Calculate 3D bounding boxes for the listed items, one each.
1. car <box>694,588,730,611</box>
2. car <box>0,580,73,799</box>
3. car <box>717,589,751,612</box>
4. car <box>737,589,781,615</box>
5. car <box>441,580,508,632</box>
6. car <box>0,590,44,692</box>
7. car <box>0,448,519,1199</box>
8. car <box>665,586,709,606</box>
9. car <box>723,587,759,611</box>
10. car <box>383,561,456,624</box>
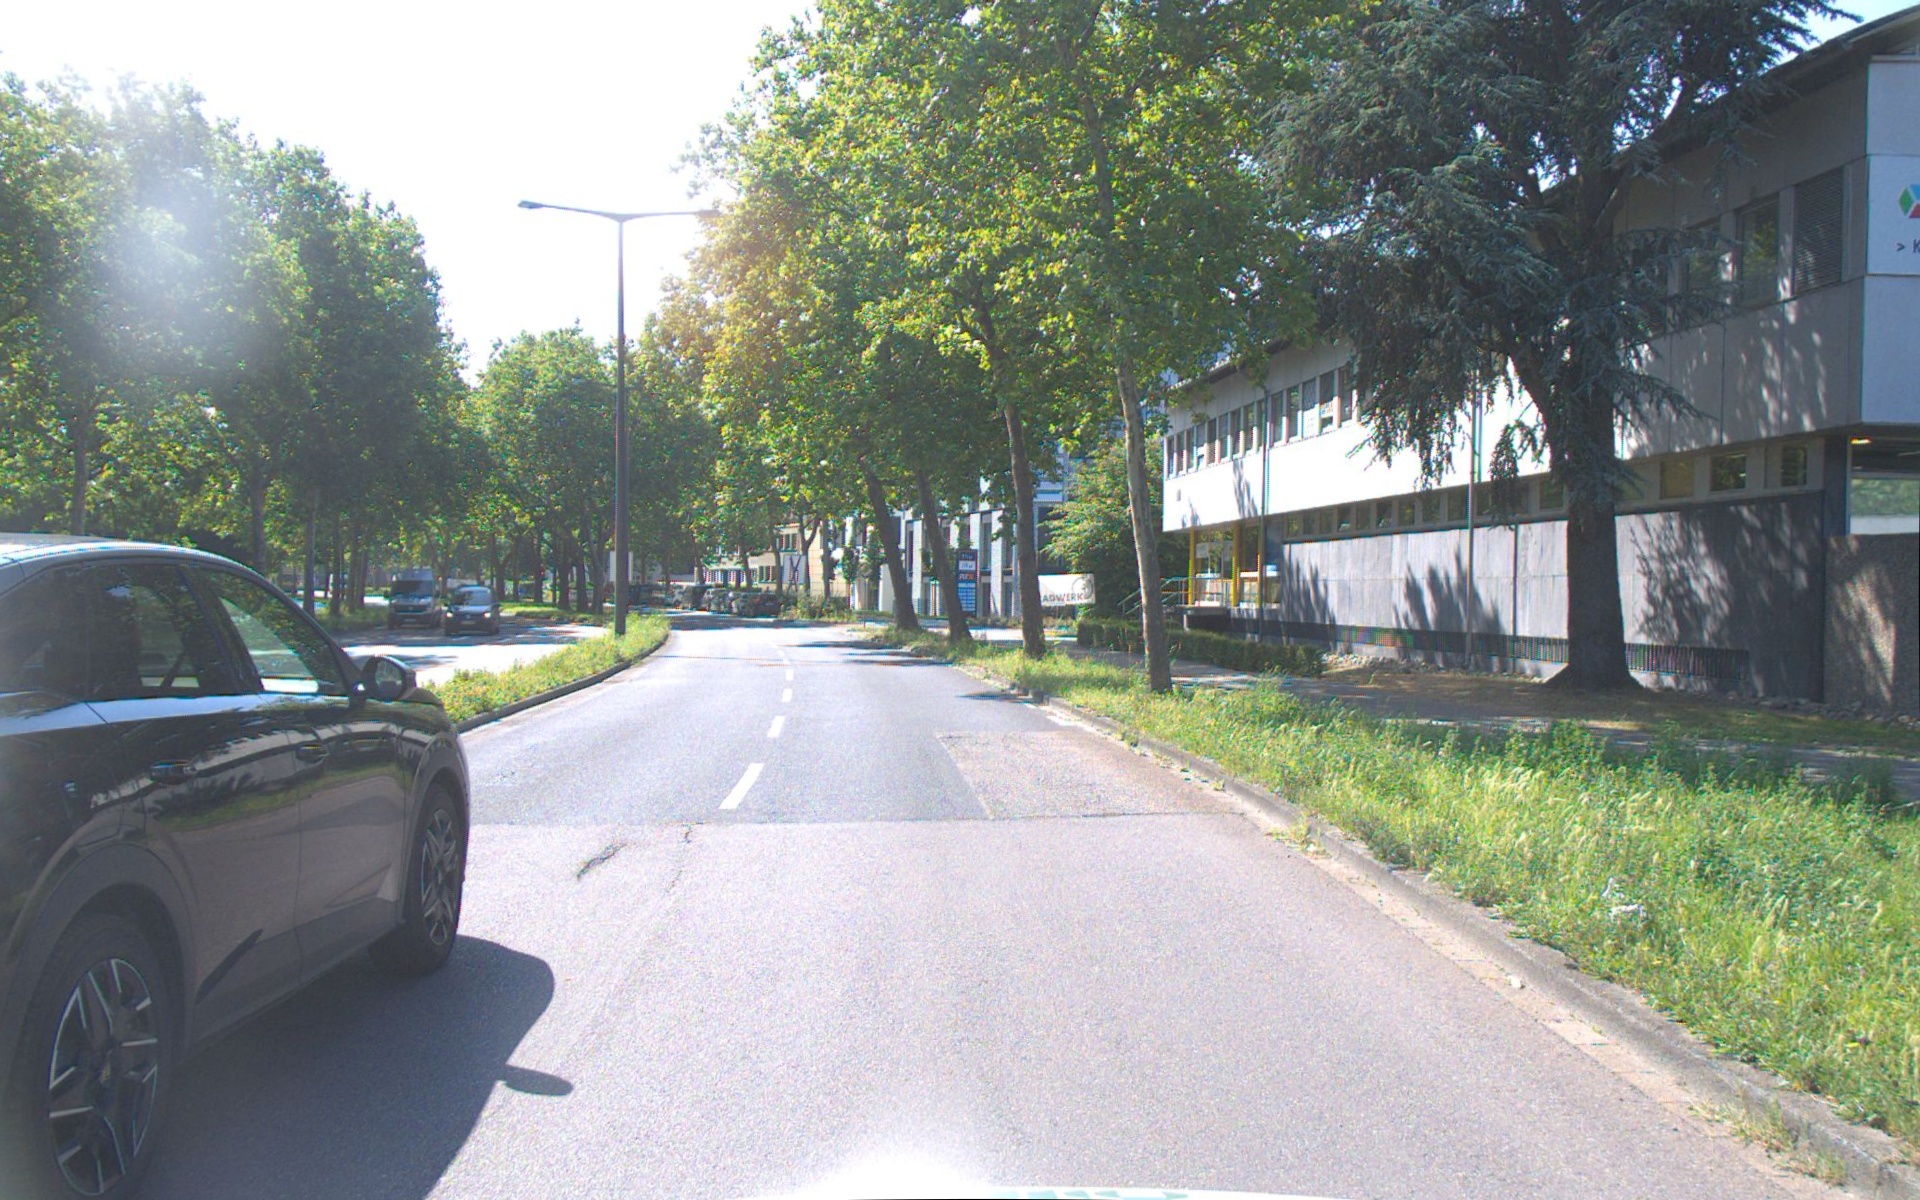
[{"bbox_3d":[-18.388,-0.031,122.538,1.682,1.699,4.506,0,0,-21],"label":"car"},{"bbox_3d":[-7.650,0.618,10.413,1.658,1.534,4.131,1,0,4],"label":"car"},{"bbox_3d":[-15.202,0.035,111.075,1.679,1.480,4.636,0,0,-16],"label":"car"},{"bbox_3d":[-12.223,0.084,100.598,1.681,1.513,4.692,-1,0,-20],"label":"car"},{"bbox_3d":[-18.168,0.194,62.095,1.654,1.871,4.986,0,0,-8],"label":"car"},{"bbox_3d":[-15.936,0.662,25.315,1.675,1.617,4.428,-1,0,-5],"label":"car"},{"bbox_3d":[-2.816,0.540,4.995,1.834,1.726,4.435,1,1,-1],"label":"car"},{"bbox_3d":[-23.451,-0.332,142.044,3.505,1.668,1.647,0,0,-24],"label":"car"},{"bbox_3d":[-14.033,-0.058,105.837,1.679,1.514,4.083,0,0,-16],"label":"car"},{"bbox_3d":[-24.108,-0.317,74.036,2.023,2.659,7.201,0,0,-10],"label":"car"}]
